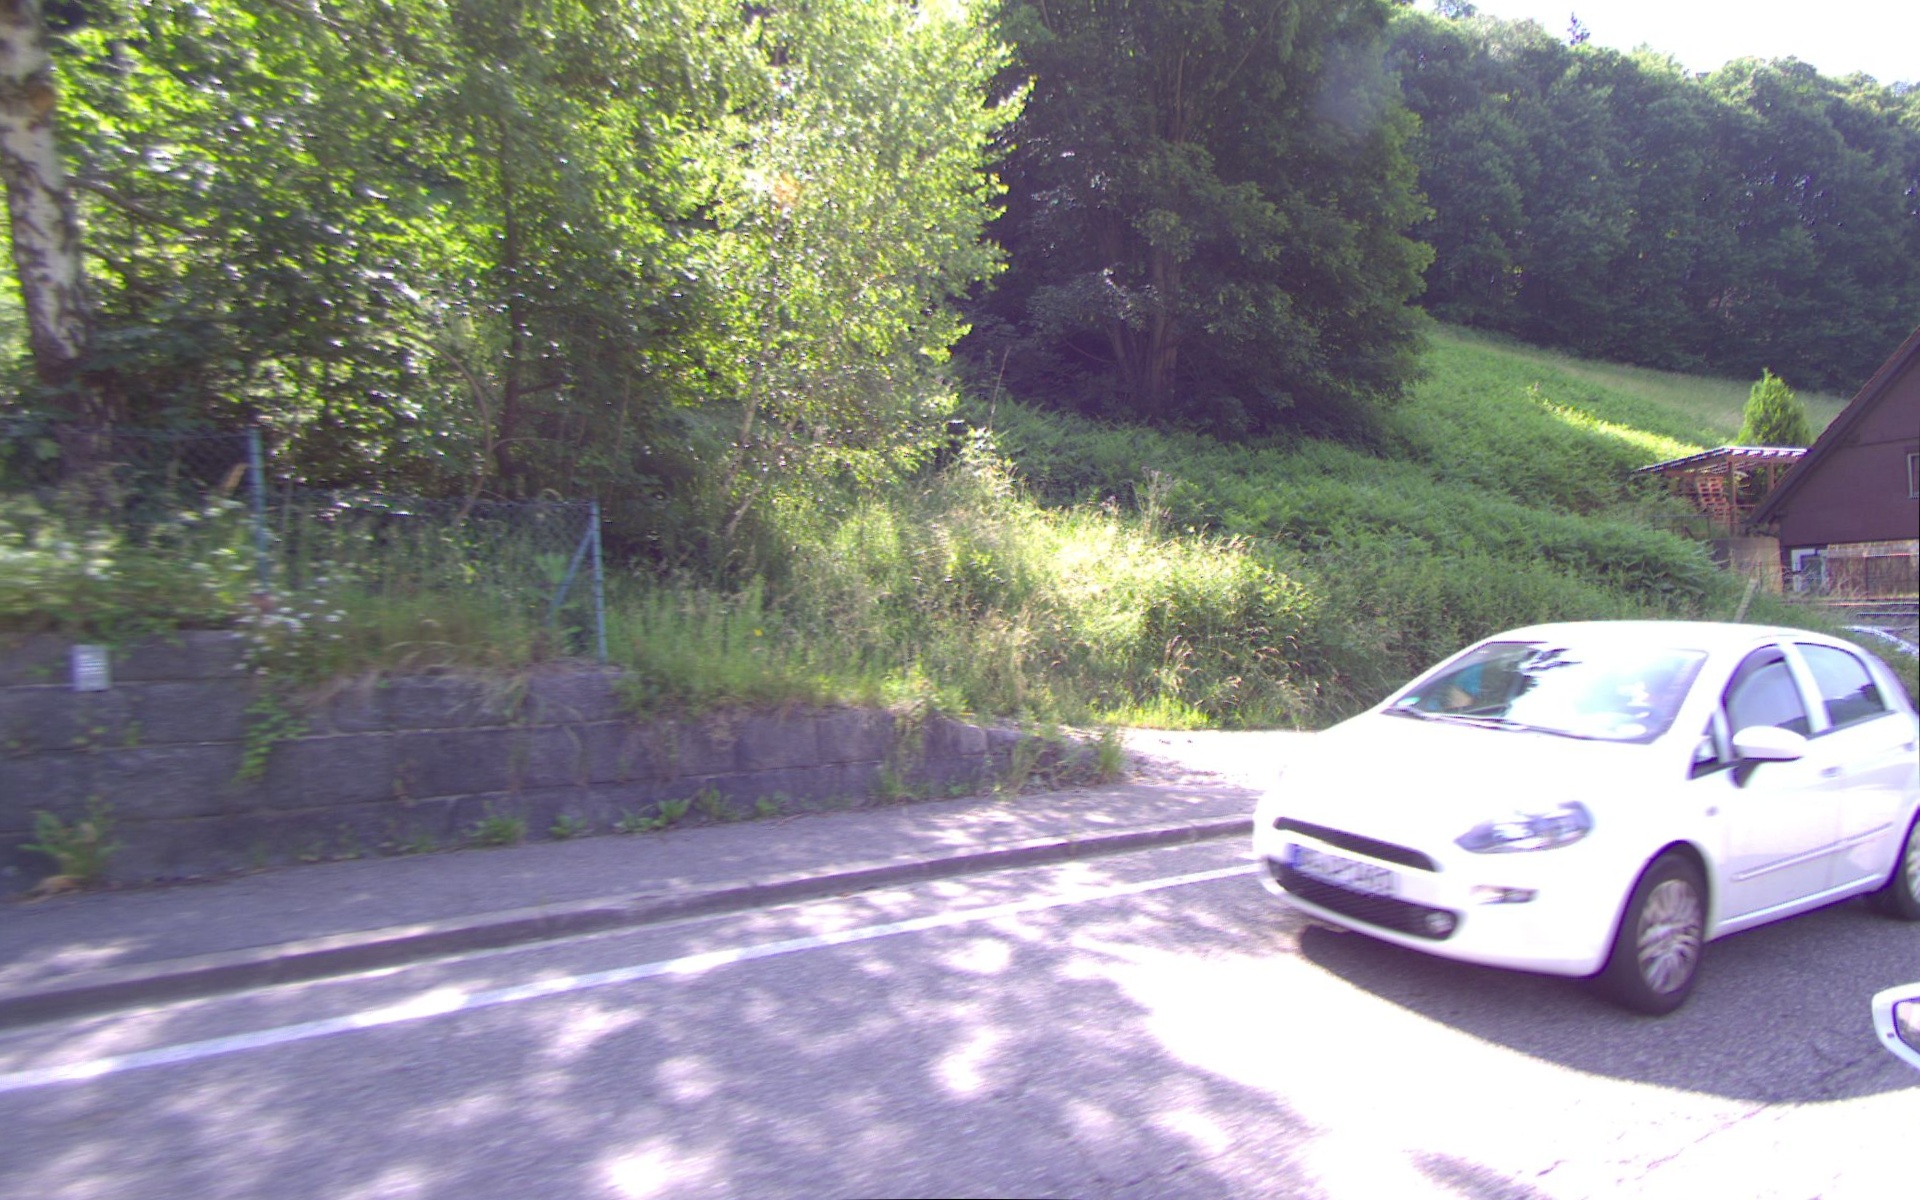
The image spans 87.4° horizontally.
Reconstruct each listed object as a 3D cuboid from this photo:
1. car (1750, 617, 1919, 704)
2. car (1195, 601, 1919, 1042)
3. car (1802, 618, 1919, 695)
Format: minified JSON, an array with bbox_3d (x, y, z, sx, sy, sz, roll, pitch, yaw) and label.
[{"bbox_3d":[17.019,1.066,18.259,1.832,1.436,3.804,0,0,-26],"label":"car"},{"bbox_3d":[3.290,0.807,5.095,3.952,1.456,1.770,2,-2,-30],"label":"car"},{"bbox_3d":[19.406,1.119,19.900,1.839,1.452,3.804,0,0,-26],"label":"car"}]
